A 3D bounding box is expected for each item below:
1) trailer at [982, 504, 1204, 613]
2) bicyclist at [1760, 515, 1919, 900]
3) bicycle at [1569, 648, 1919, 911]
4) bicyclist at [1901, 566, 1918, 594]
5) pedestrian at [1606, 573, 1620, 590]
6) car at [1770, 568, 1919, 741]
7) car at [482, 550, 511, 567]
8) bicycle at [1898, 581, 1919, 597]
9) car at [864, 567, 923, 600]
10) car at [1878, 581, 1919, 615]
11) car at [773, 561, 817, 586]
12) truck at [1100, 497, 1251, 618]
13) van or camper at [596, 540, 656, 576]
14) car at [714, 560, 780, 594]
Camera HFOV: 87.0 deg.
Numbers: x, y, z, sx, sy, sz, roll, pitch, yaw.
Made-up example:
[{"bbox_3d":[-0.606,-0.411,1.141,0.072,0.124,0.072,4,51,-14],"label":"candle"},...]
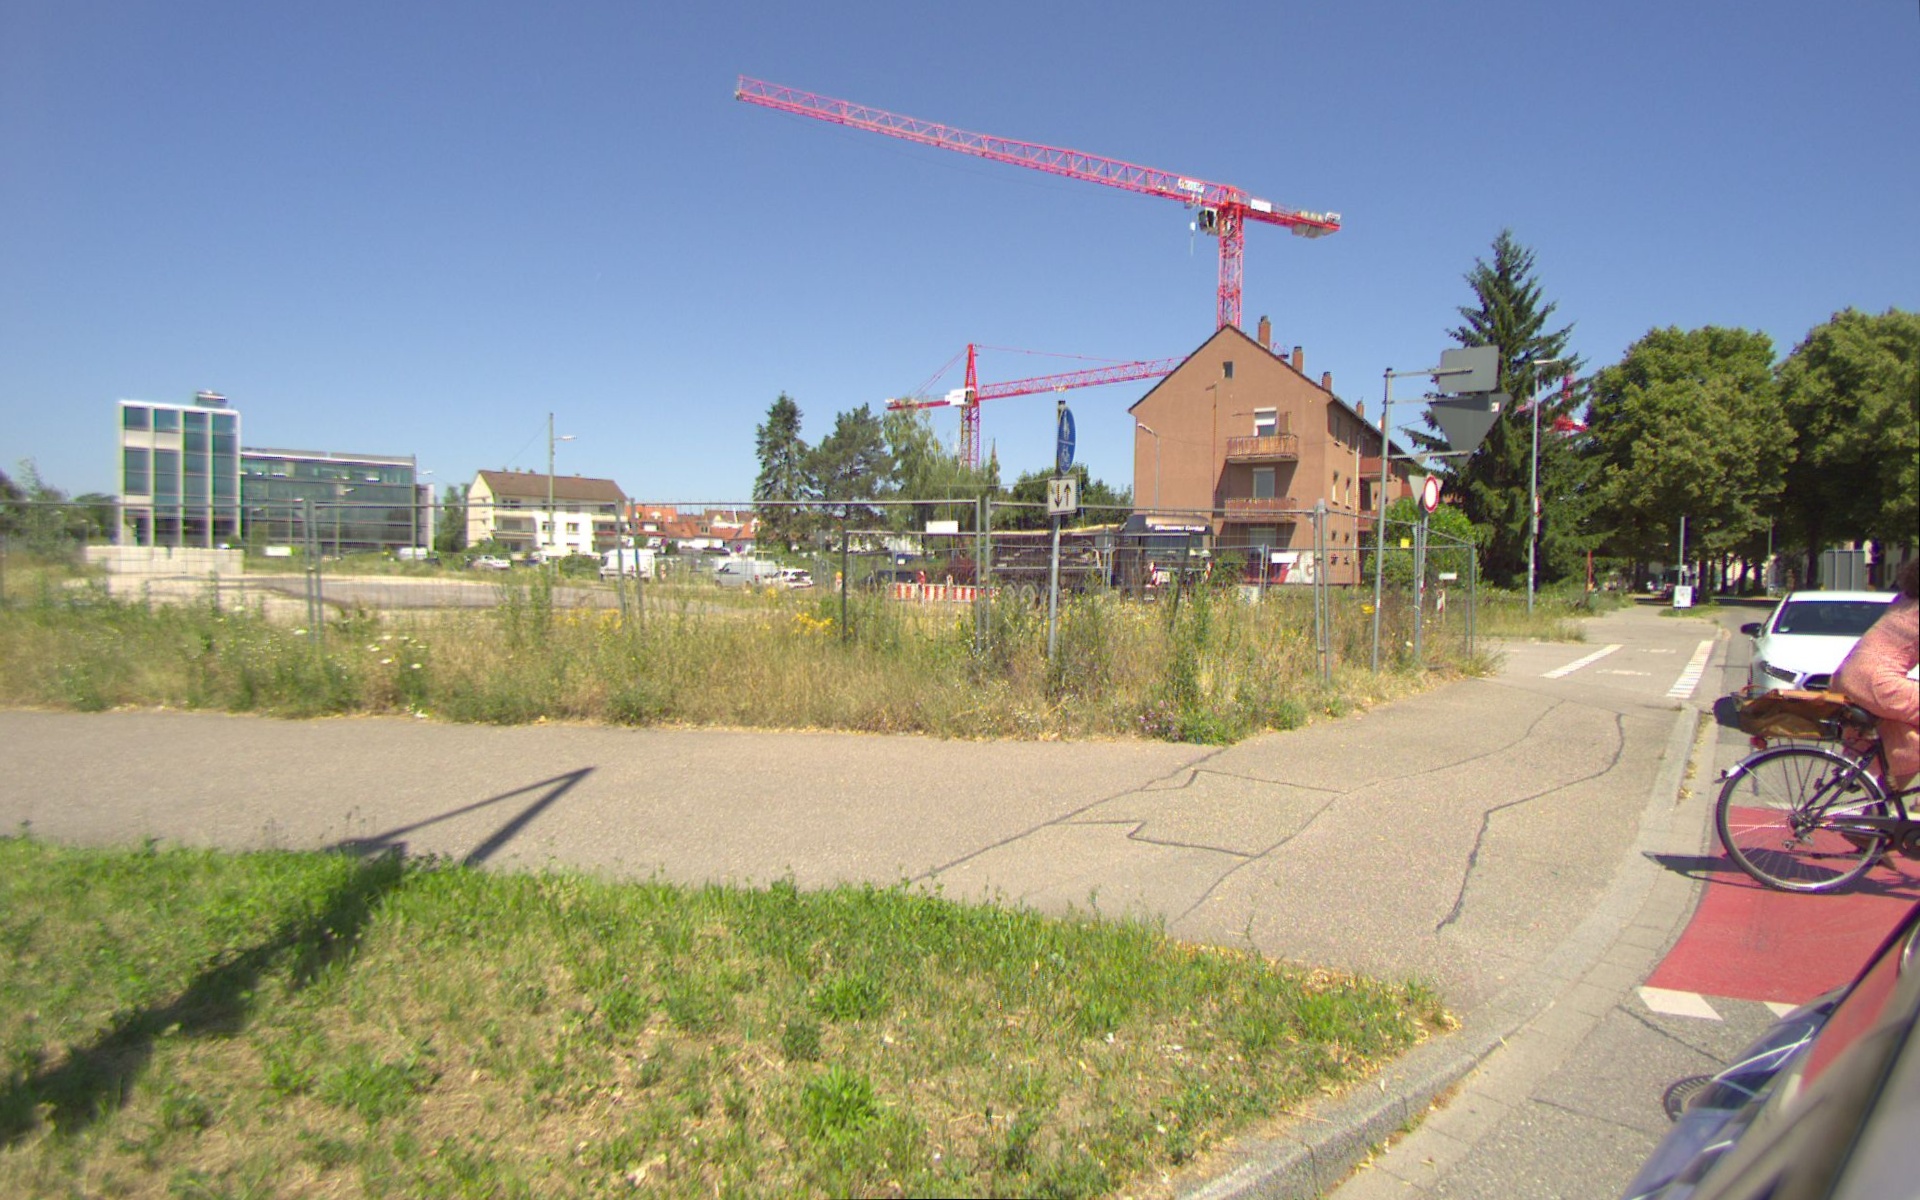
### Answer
[{"bbox_3d":[4.668,-1.522,37.948,3.103,3.576,8.998,0,2,-33],"label":"trailer"},{"bbox_3d":[4.311,0.462,4.713,0.701,1.684,0.642,1,2,20],"label":"bicyclist"},{"bbox_3d":[4.119,0.831,4.758,2.061,1.071,0.437,2,2,19],"label":"bicycle"},{"bbox_3d":[55.909,-1.174,59.607,0.564,1.630,0.732,2,1,33],"label":"bicyclist"},{"bbox_3d":[60.548,-1.684,93.837,1.020,1.536,0.673,2,2,39],"label":"pedestrian"},{"bbox_3d":[9.814,0.459,10.796,1.773,1.564,3.907,2,2,39],"label":"car"},{"bbox_3d":[-46.560,-4.155,101.676,1.652,1.606,3.616,-2,2,-42],"label":"car"},{"bbox_3d":[55.910,-0.647,59.645,0.558,0.927,1.887,2,2,32],"label":"bicycle"},{"bbox_3d":[-3.502,-0.863,52.859,1.345,1.633,3.416,0,2,-38],"label":"car"},{"bbox_3d":[41.311,-0.098,44.044,1.447,1.407,3.302,2,2,33],"label":"car"},{"bbox_3d":[-9.796,-1.609,60.097,1.393,1.423,2.788,-1,3,-39],"label":"car"},{"bbox_3d":[6.849,-1.339,32.955,3.099,3.576,4.974,1,2,-10],"label":"truck"},{"bbox_3d":[-25.724,-3.191,77.766,1.896,2.634,6.993,0,2,-41],"label":"van or camper"},{"bbox_3d":[-13.532,-1.476,64.060,4.667,2.038,1.757,2,2,44],"label":"car"}]
